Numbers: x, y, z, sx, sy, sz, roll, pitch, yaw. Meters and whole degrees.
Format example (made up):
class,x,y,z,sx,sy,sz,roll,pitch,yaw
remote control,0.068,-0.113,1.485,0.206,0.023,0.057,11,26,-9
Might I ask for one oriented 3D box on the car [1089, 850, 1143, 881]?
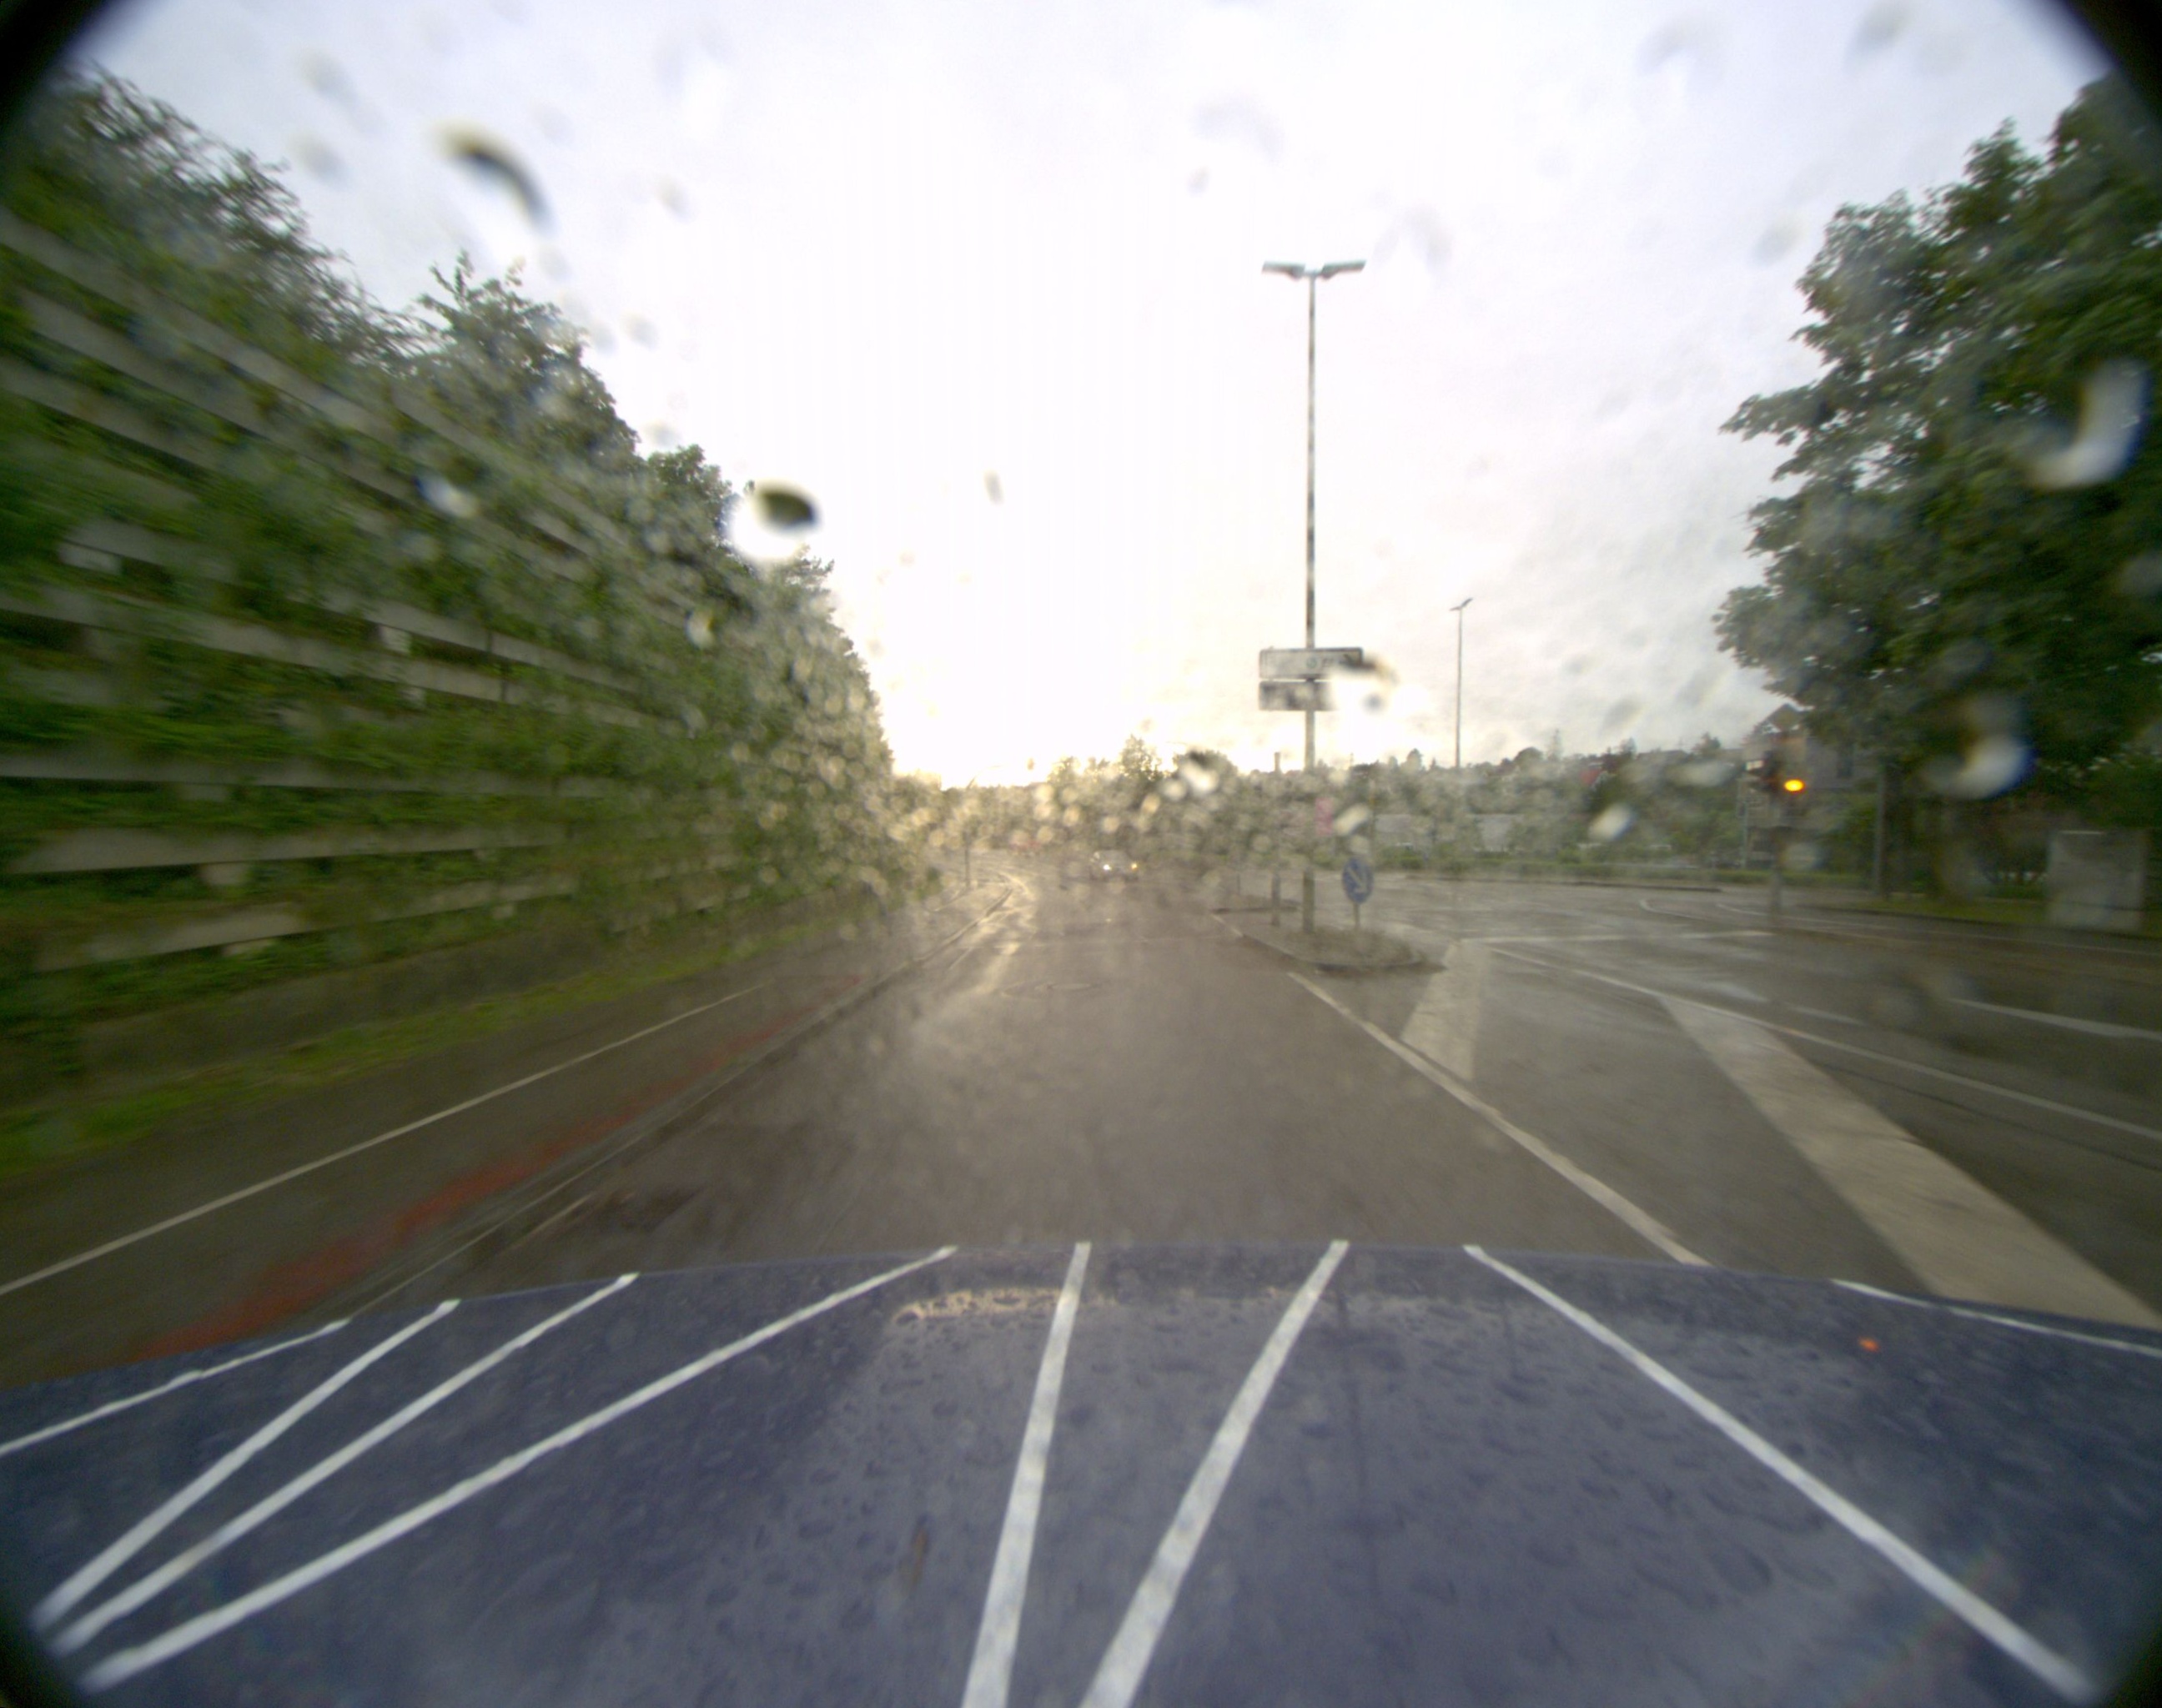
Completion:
class,x,y,z,sx,sy,sz,roll,pitch,yaw
car,1.648,0.530,36.861,1.760,1.387,3.996,-1,0,-10

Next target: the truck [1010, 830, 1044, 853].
class,x,y,z,sx,sy,sz,roll,pitch,yaw
truck,-5.150,-1.208,71.935,2.001,2.003,5.328,-3,3,-17
